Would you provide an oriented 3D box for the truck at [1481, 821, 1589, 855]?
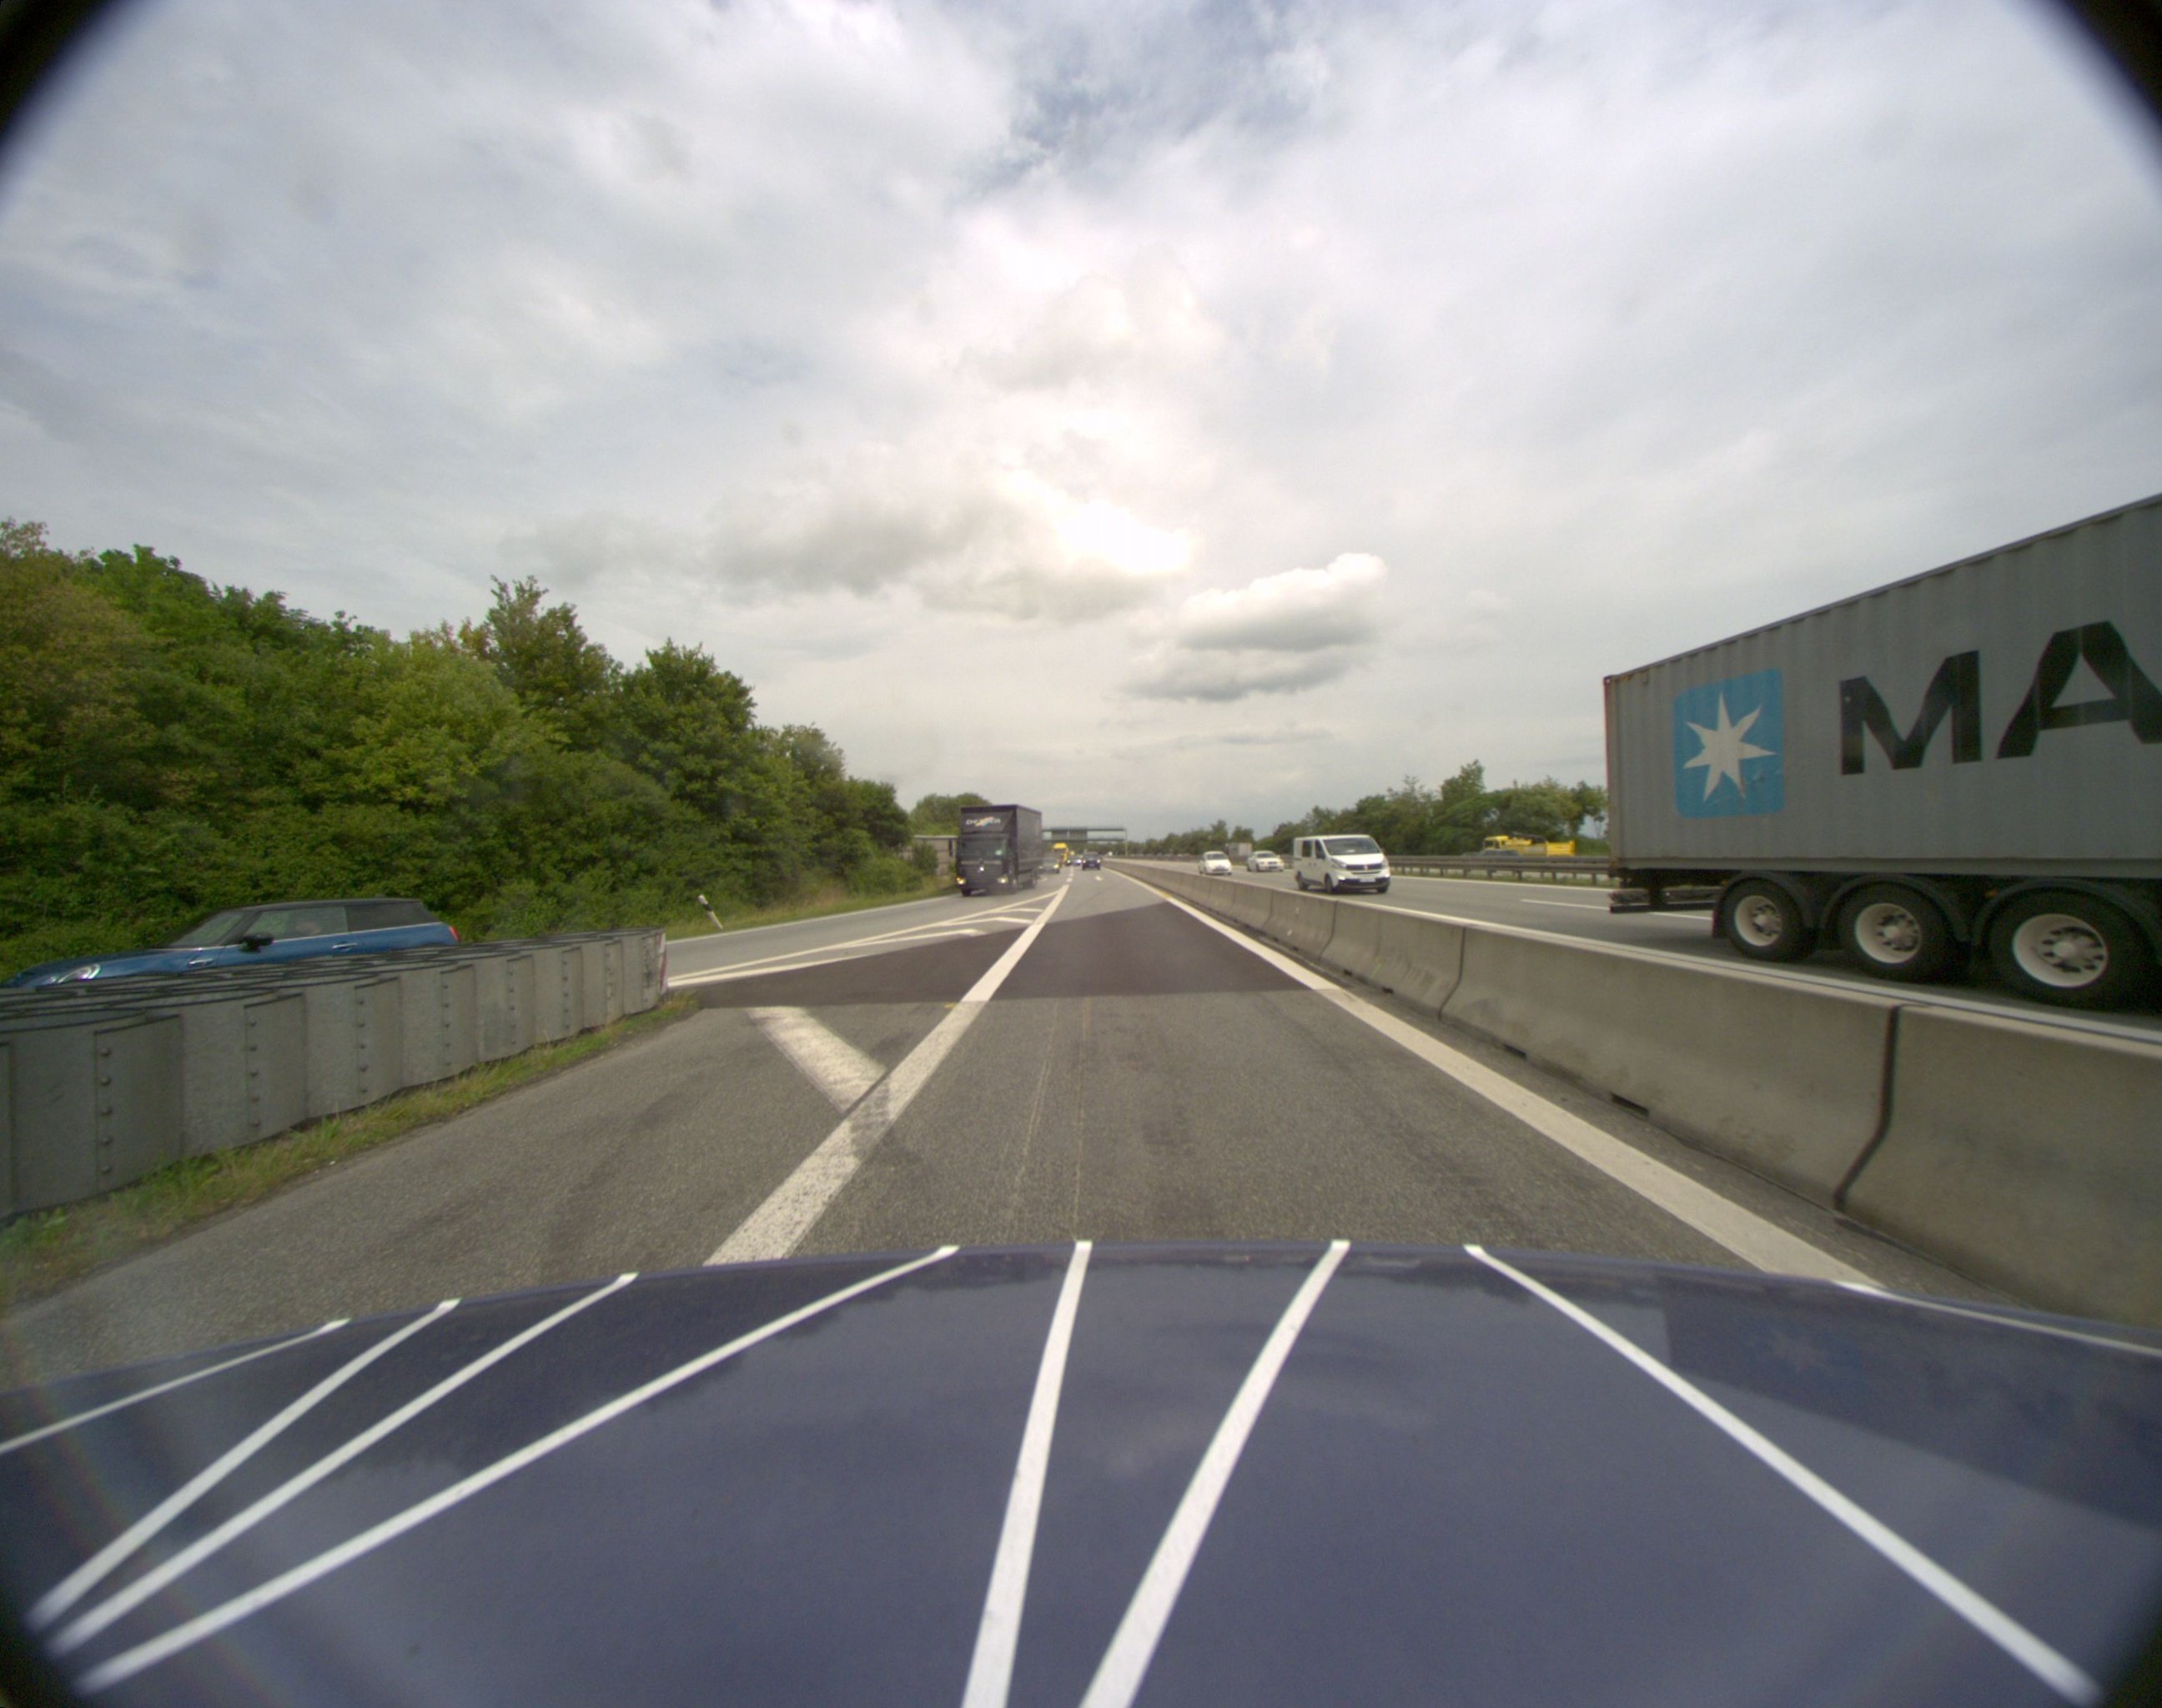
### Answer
[{"bbox_3d":[39.318,-1.304,66.244,2.916,2.758,8.772,-2,0,-11],"label":"truck"}]

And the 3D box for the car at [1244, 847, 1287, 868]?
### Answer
[{"bbox_3d":[12.560,0.225,51.960,1.757,1.361,4.204,-2,1,-2],"label":"car"}]

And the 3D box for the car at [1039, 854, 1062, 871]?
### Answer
[{"bbox_3d":[-2.685,0.727,67.454,1.866,1.434,3.999,-2,0,-2],"label":"car"}]

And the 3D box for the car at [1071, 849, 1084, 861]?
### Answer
[{"bbox_3d":[-0.512,0.147,113.119,1.785,1.761,4.000,-2,0,2],"label":"car"}]

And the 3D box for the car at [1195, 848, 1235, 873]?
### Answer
[{"bbox_3d":[8.555,0.421,48.846,1.685,1.476,3.773,-2,0,-3],"label":"car"}]

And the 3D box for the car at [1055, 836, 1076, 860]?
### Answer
[{"bbox_3d":[-3.023,-1.179,149.031,3.394,4.457,11.607,-2,0,2],"label":"car"}]

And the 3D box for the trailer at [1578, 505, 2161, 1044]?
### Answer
[{"bbox_3d":[9.472,-0.630,5.586,3.245,3.901,12.377,-3,1,-1],"label":"trailer"}]

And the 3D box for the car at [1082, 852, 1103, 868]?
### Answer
[{"bbox_3d":[1.094,0.601,76.235,1.866,1.434,3.999,-2,0,-2],"label":"car"}]

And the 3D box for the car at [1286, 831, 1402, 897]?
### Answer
[{"bbox_3d":[8.817,0.287,26.004,2.005,1.927,5.131,-3,1,-1],"label":"car"}]

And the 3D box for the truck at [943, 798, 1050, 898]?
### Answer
[{"bbox_3d":[-3.615,-0.268,35.925,3.023,3.931,10.343,-2,0,4],"label":"truck"}]

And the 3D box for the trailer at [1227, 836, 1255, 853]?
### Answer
[{"bbox_3d":[32.028,-1.935,152.757,3.206,3.250,9.822,-2,0,-1],"label":"trailer"}]

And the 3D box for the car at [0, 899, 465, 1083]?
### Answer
[{"bbox_3d":[-10.023,1.410,9.091,1.731,1.411,3.670,-2,1,21],"label":"car"}]
